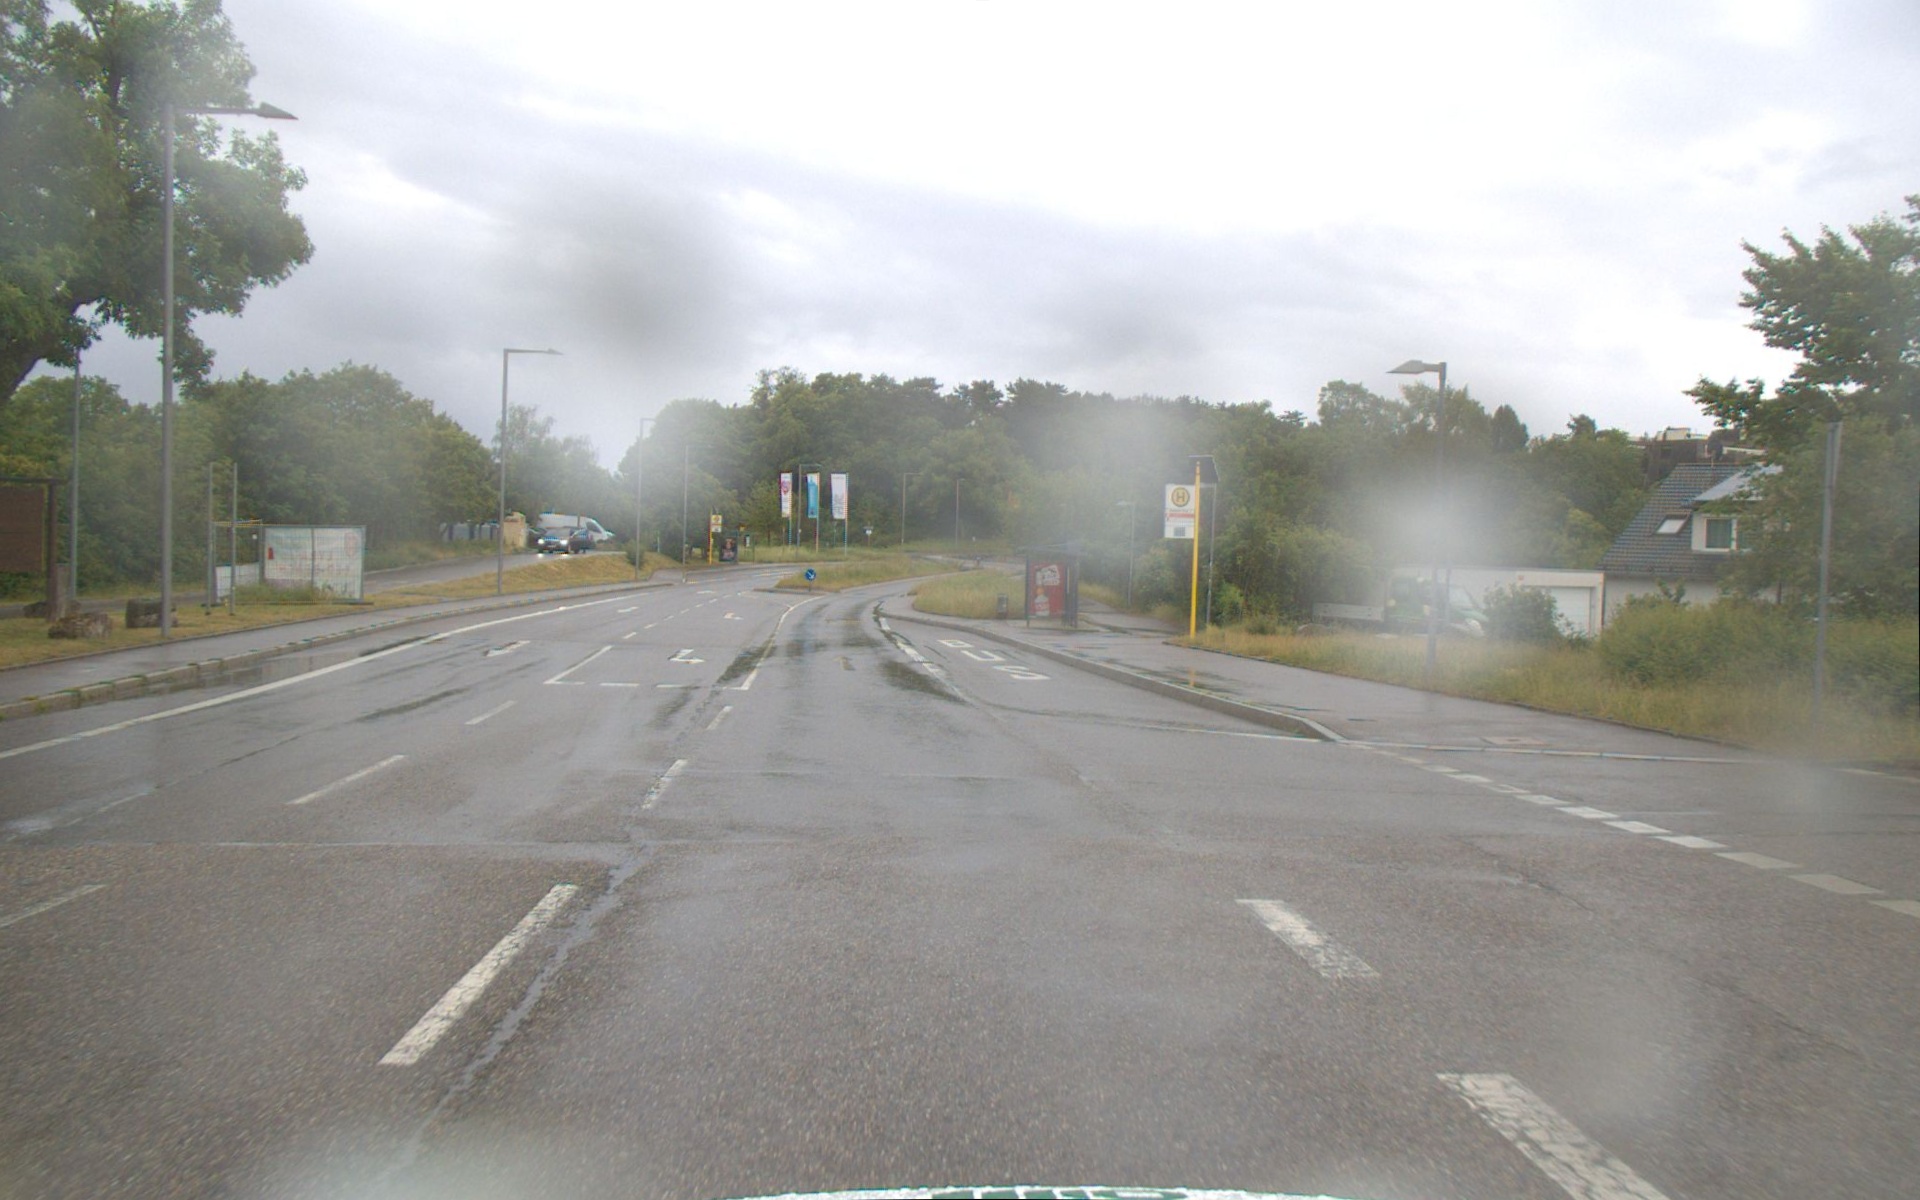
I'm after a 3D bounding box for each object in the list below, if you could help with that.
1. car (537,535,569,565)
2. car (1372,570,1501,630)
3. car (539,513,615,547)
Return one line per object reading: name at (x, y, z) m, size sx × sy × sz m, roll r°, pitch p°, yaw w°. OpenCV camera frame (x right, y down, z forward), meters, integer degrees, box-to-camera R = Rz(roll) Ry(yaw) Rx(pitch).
car at (-24.501, -2.973, 99.506) m, size 1.661 × 1.648 × 3.877 m, roll 2°, pitch 0°, yaw -16°
car at (15.062, 0.016, 52.349) m, size 3.366 × 1.720 × 1.986 m, roll 0°, pitch -5°, yaw 45°
car at (-30.349, -5.521, 131.082) m, size 5.565 × 2.446 × 1.998 m, roll 2°, pitch 0°, yaw -5°
